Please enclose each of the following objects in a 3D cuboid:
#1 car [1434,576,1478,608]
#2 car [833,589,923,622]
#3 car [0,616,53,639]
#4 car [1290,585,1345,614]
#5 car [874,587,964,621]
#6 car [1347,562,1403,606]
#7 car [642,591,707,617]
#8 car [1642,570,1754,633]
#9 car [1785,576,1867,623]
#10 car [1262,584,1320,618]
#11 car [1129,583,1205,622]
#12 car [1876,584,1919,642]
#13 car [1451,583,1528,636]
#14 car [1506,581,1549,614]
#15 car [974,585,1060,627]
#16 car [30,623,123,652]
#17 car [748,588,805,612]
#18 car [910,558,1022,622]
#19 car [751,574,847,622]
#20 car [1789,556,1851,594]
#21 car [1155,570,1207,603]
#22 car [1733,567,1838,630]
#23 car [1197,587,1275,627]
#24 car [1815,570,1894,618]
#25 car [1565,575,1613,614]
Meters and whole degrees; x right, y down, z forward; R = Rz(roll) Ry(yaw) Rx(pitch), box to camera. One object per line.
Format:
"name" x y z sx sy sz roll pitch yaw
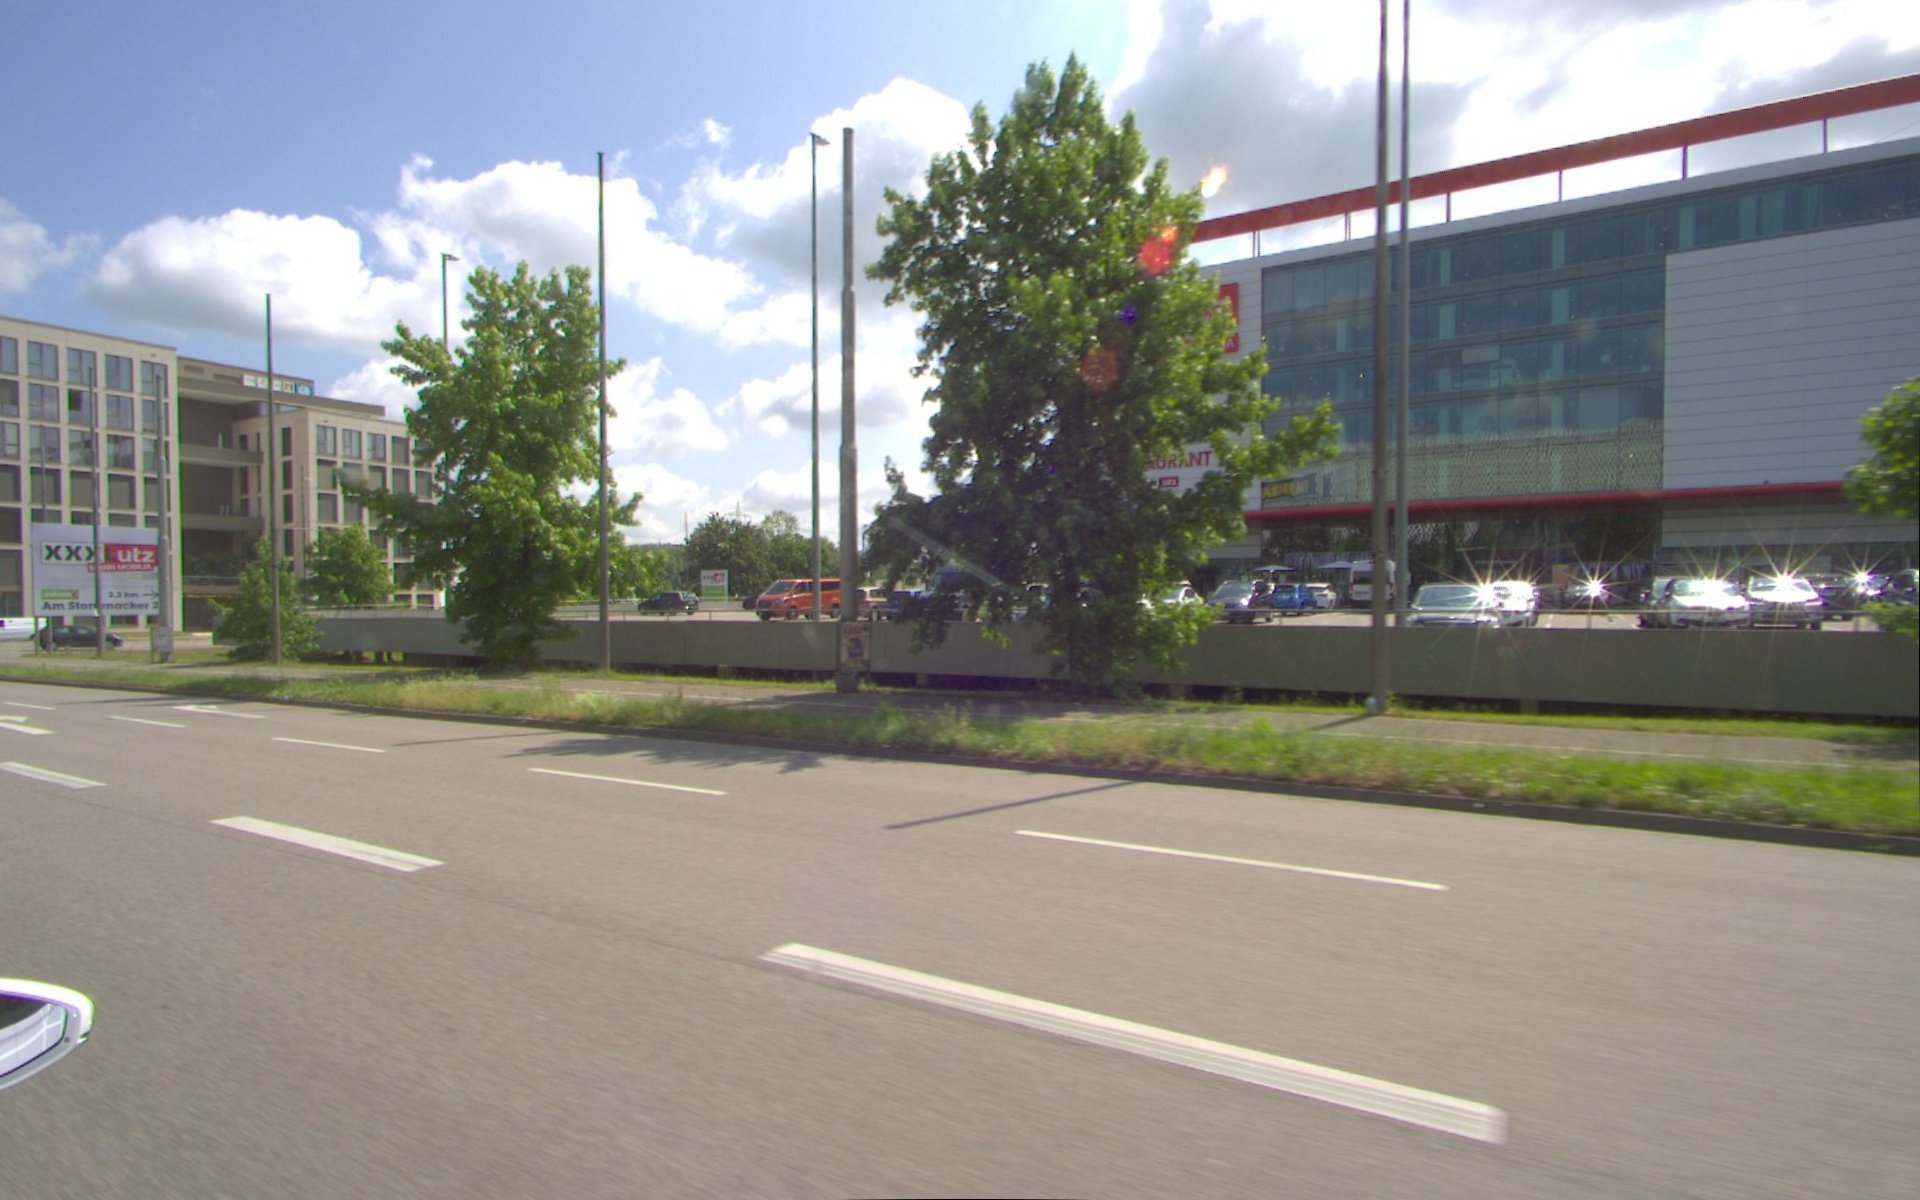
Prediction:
"car" 23.969 -0.367 48.295 1.605 1.439 3.562 0 0 31
"car" -3.867 0.287 48.257 1.957 1.473 4.861 -1 -1 30
"car" -70.472 2.017 73.867 1.971 1.628 4.975 0 0 31
"car" 18.254 -0.003 51.015 1.882 1.452 3.788 0 0 32
"car" -1.837 0.212 47.087 1.957 1.503 4.861 -1 -1 30
"car" 20.258 -0.738 48.849 1.970 1.977 3.981 0 0 31
"car" -18.224 0.260 63.903 3.809 1.541 1.868 -1 -1 29
"car" 20.103 0.112 27.457 1.970 1.591 3.984 -1 -2 29
"car" 31.610 0.009 36.637 1.551 1.617 3.667 0 0 29
"car" 15.444 0.063 46.646 1.718 1.536 3.788 0 0 32
"car" 8.262 0.050 39.711 1.701 1.454 4.175 0 1 31
"car" 24.194 0.284 24.621 1.663 1.343 4.175 0 1 31
"car" 15.667 0.228 29.635 1.864 1.408 4.178 0 1 28
"car" 26.509 -0.081 46.739 1.605 1.439 3.981 0 0 31
"car" 2.277 0.276 39.018 1.721 1.534 3.982 -1 -1 30
"car" -53.907 2.254 61.149 1.609 1.524 4.118 1 2 44
"car" -13.235 0.002 72.047 3.808 1.622 1.741 0 0 29
"car" 0.351 -0.326 40.889 2.031 2.397 5.652 -1 -1 30
"car" -8.027 -0.030 50.542 1.958 2.223 5.154 -1 -2 31
"car" 41.242 -1.146 48.089 1.597 1.674 3.578 0 0 30
"car" 12.278 -0.741 55.596 1.724 1.728 3.736 0 0 31
"car" 24.662 -0.020 30.055 1.765 1.751 3.982 0 0 30
"car" 10.737 0.231 38.750 1.865 1.454 4.175 0 1 31
"car" 36.011 -0.202 40.401 1.651 1.806 3.980 0 0 31
"car" 28.538 -0.216 45.453 1.777 1.639 3.979 0 0 32
